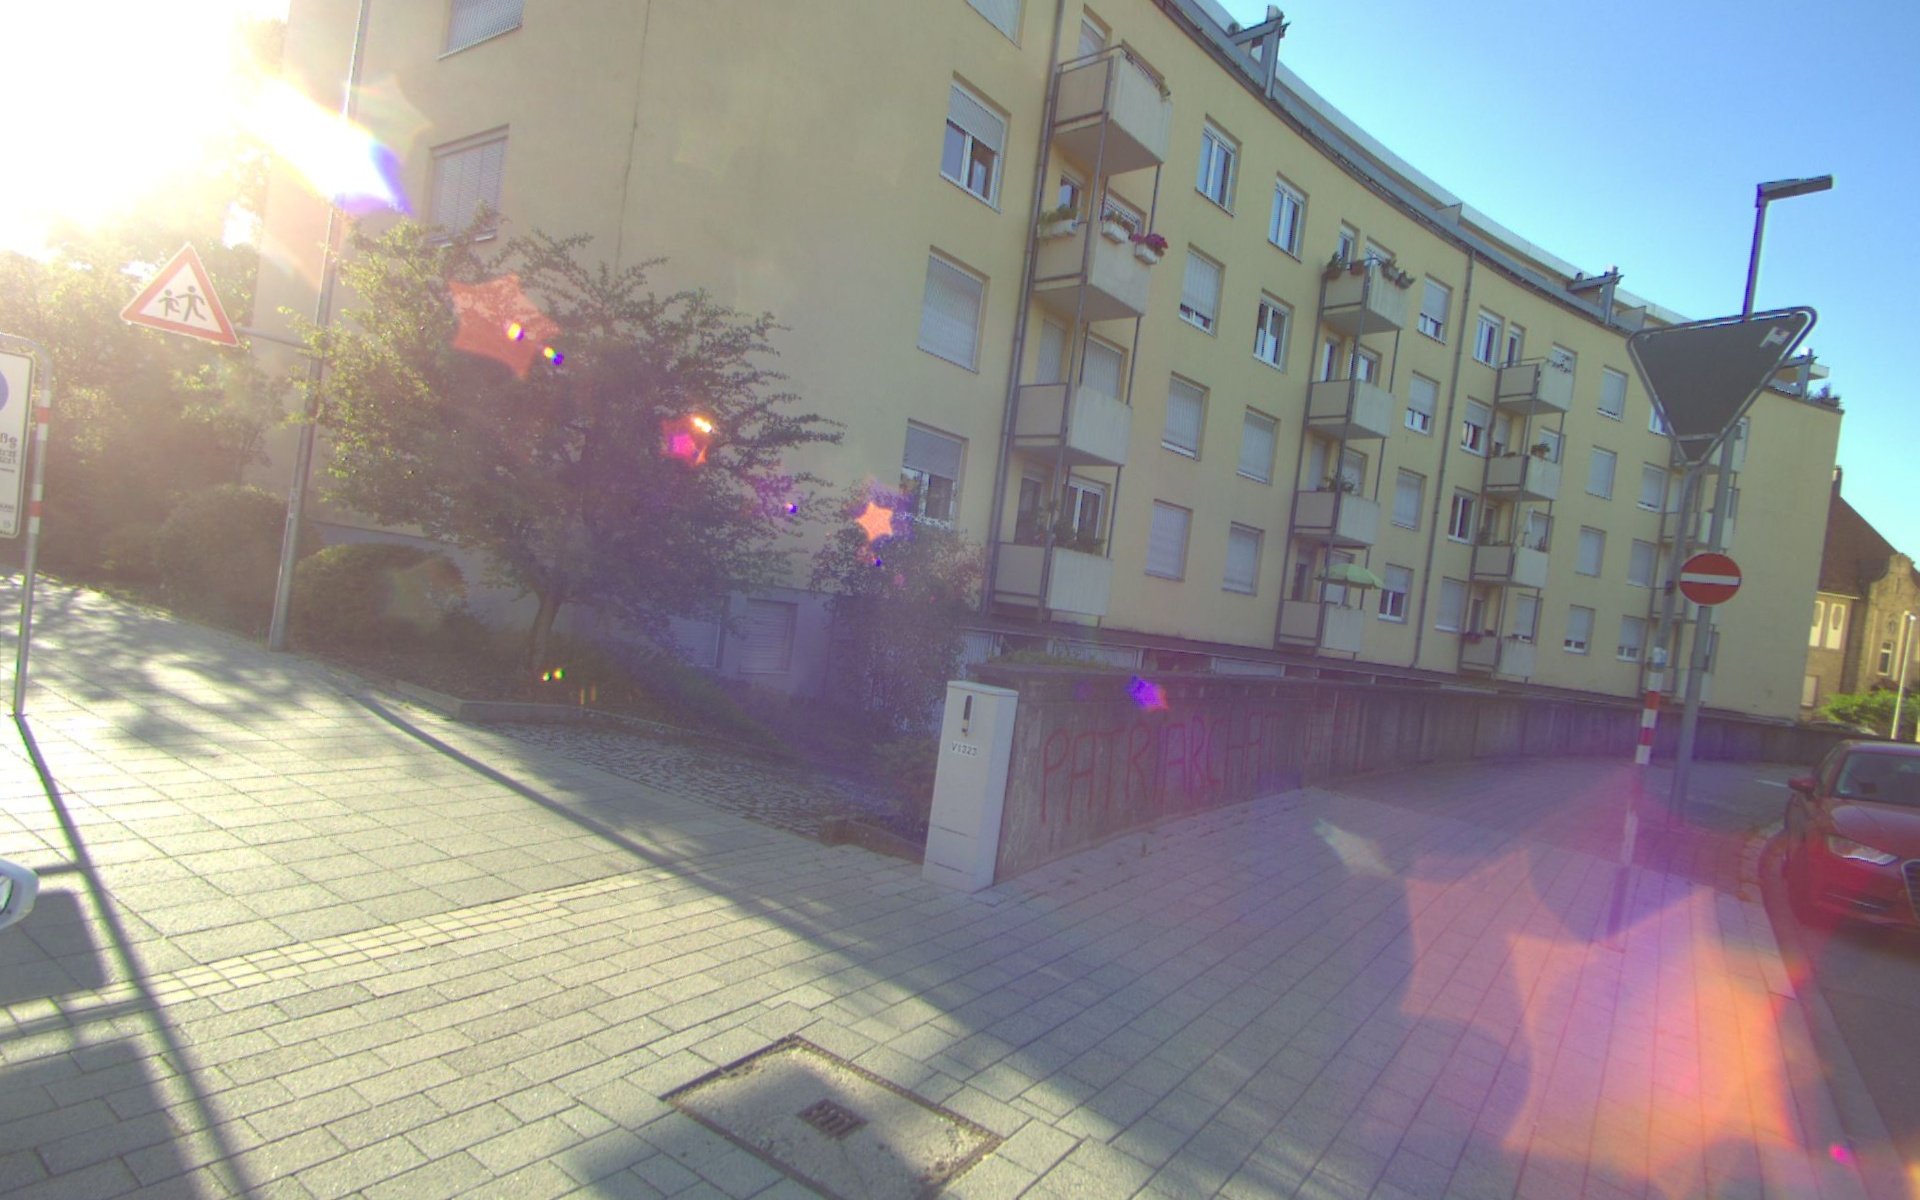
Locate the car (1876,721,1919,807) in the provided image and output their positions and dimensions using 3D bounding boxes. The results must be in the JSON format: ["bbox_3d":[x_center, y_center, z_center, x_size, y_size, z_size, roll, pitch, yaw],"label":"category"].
[{"bbox_3d":[20.547,3.478,20.475,4.005,1.595,1.693,8,-1,-31],"label":"car"}]

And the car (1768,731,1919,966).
[{"bbox_3d":[7.830,1.922,8.133,1.763,1.436,4.035,5,-2,37],"label":"car"}]

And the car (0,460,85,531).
[{"bbox_3d":[-26.596,-3.031,27.687,1.620,1.661,3.489,8,0,41],"label":"car"}]
